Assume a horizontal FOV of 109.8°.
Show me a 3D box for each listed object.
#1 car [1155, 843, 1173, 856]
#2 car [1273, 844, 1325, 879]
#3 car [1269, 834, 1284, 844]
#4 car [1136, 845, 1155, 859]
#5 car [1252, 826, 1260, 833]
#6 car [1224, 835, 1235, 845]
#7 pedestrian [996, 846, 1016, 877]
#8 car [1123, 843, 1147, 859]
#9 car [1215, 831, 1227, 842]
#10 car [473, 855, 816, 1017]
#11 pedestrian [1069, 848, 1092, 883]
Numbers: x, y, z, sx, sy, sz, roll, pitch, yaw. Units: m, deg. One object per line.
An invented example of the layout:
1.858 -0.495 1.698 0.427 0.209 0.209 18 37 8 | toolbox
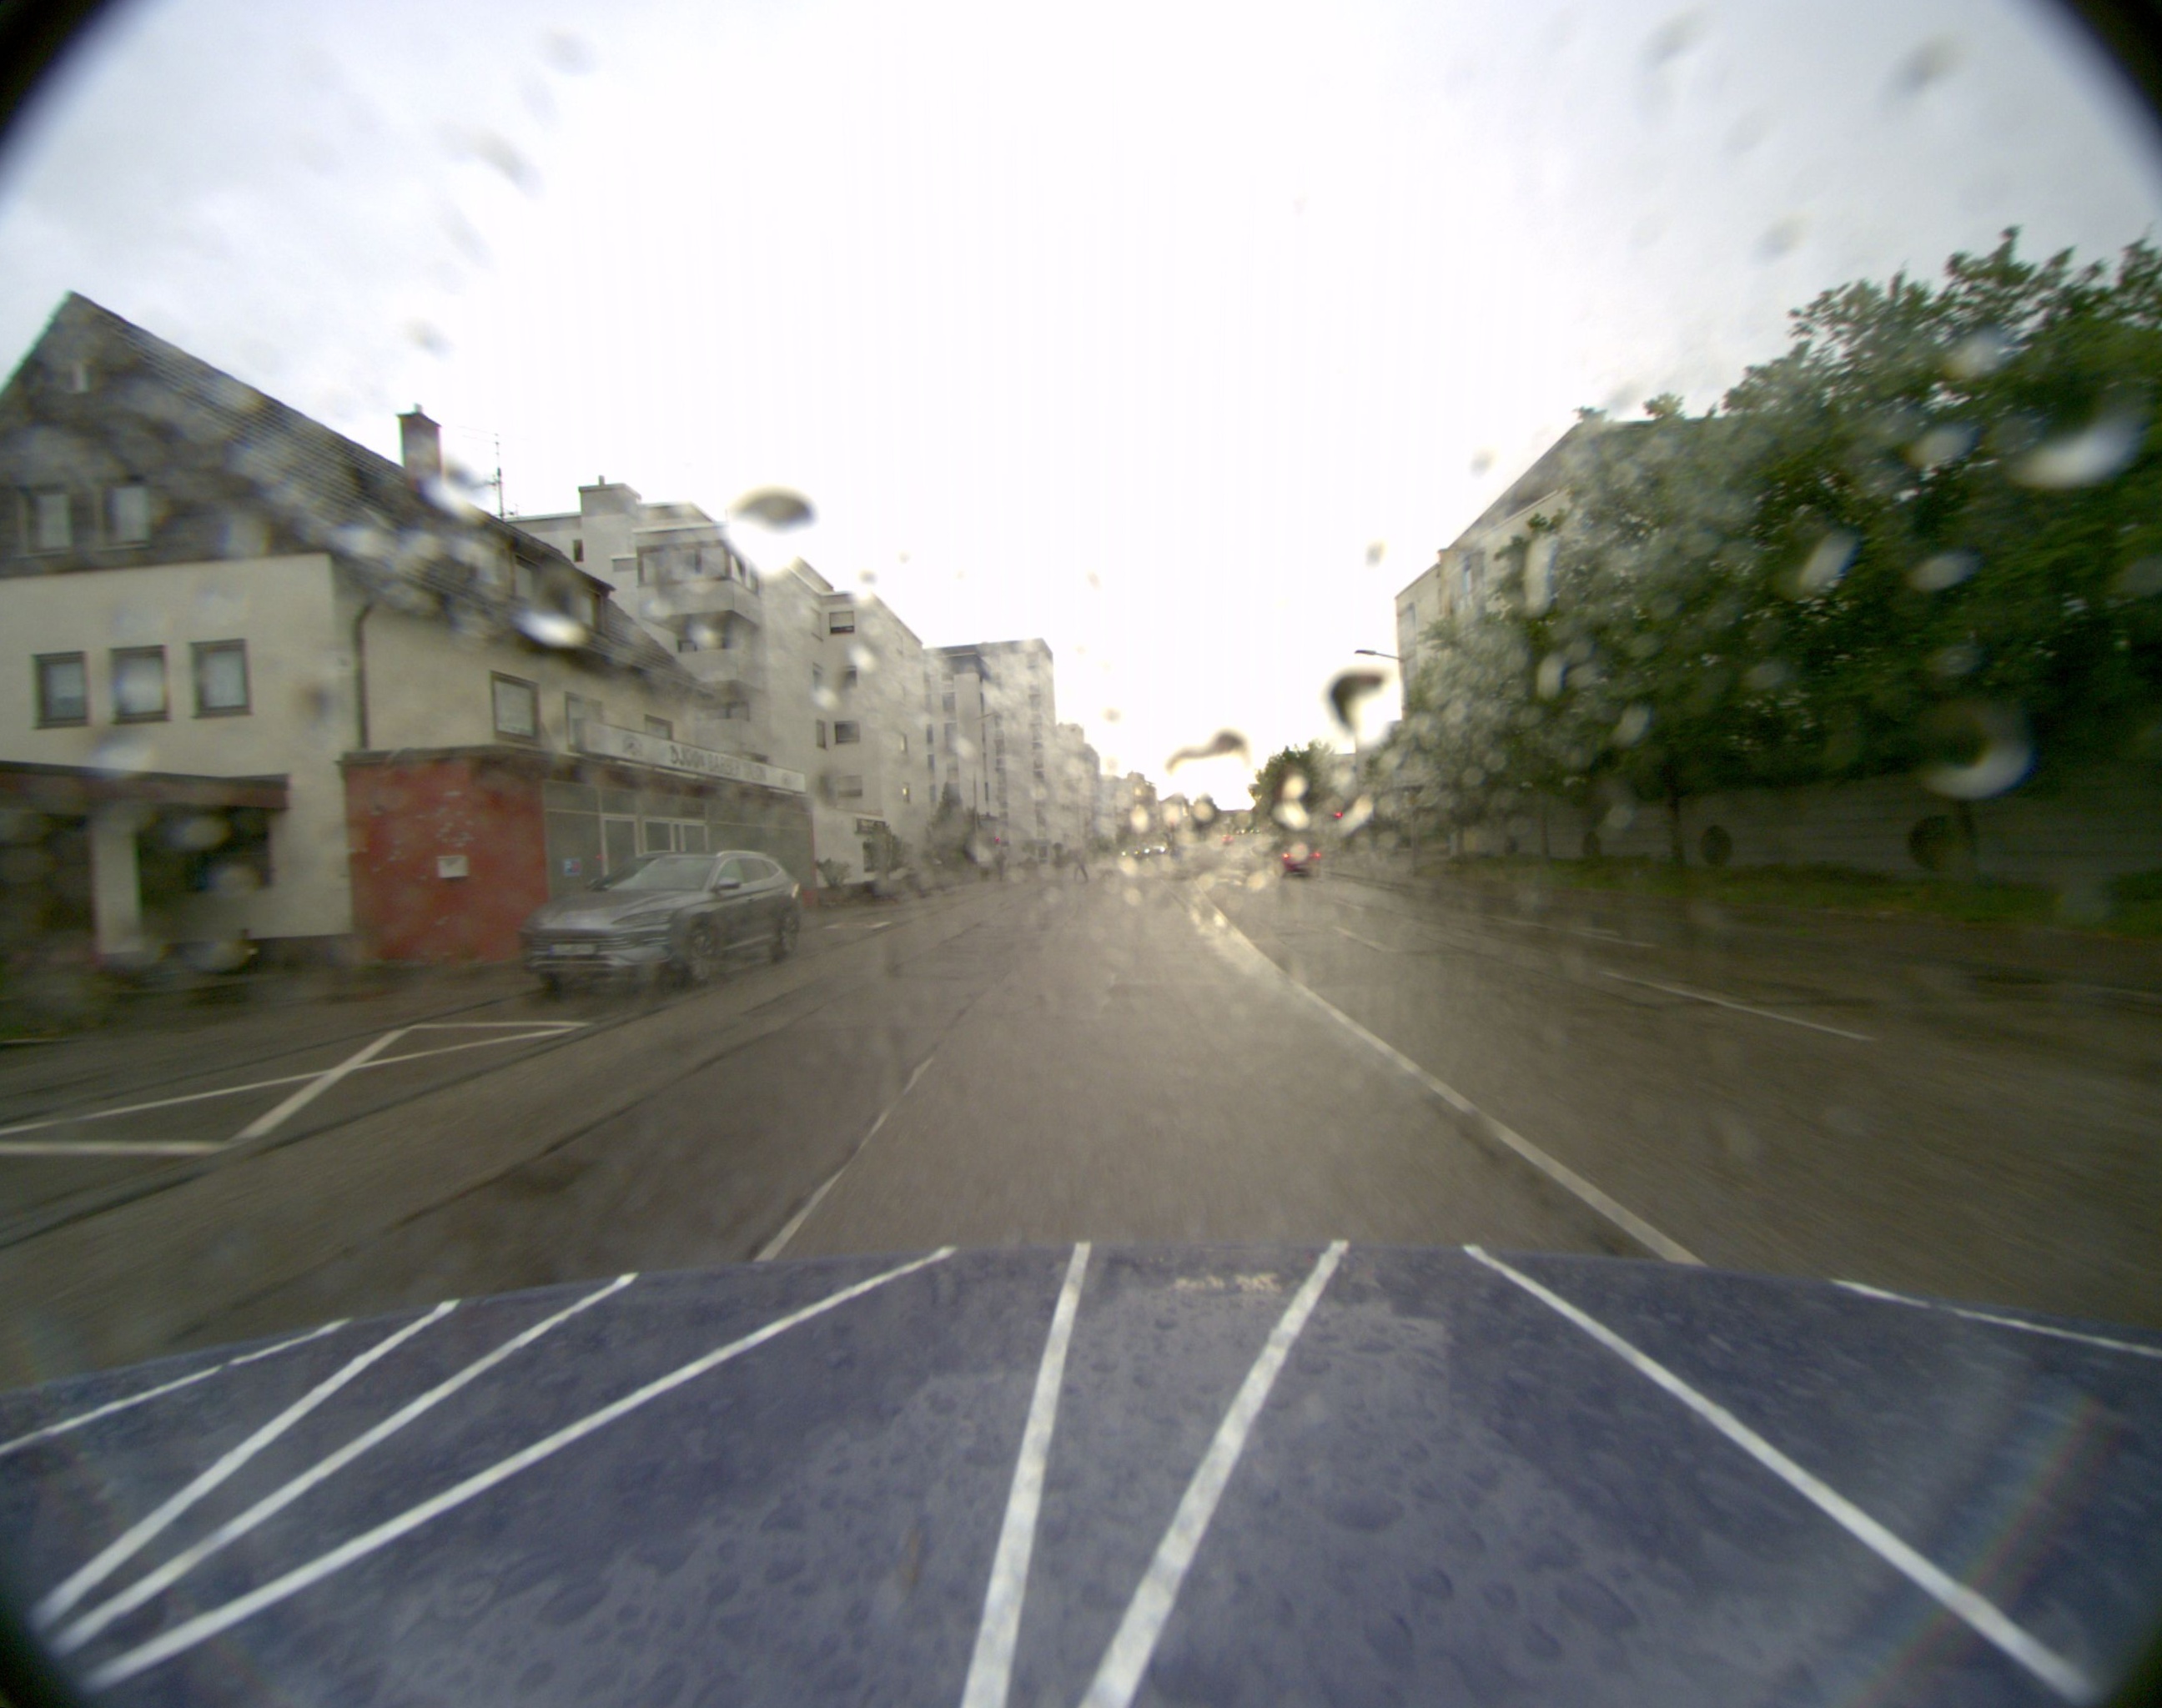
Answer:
11.056 -0.631 100.972 1.897 1.535 4.024 -4 1 13 | car
10.306 0.312 36.129 1.778 1.498 4.105 0 1 7 | car
30.878 -2.388 119.876 1.734 1.470 4.026 -4 1 21 | car
7.590 -0.290 89.419 1.752 1.470 4.002 -4 1 11 | car
45.105 -6.245 195.587 1.827 1.677 4.004 -2 1 17 | car
25.804 -2.474 132.040 1.691 1.546 3.909 -5 1 14 | car
-4.056 0.390 40.916 0.754 1.559 0.993 -5 1 6 | pedestrian
5.780 -0.341 80.902 1.739 1.477 4.153 -3 1 15 | car
31.004 -3.903 168.441 1.997 2.002 4.003 -7 1 16 | car
-5.510 0.890 10.532 1.879 1.633 4.792 -1 1 1 | car
-0.019 0.566 38.281 0.667 1.692 0.948 -3 1 25 | pedestrian
